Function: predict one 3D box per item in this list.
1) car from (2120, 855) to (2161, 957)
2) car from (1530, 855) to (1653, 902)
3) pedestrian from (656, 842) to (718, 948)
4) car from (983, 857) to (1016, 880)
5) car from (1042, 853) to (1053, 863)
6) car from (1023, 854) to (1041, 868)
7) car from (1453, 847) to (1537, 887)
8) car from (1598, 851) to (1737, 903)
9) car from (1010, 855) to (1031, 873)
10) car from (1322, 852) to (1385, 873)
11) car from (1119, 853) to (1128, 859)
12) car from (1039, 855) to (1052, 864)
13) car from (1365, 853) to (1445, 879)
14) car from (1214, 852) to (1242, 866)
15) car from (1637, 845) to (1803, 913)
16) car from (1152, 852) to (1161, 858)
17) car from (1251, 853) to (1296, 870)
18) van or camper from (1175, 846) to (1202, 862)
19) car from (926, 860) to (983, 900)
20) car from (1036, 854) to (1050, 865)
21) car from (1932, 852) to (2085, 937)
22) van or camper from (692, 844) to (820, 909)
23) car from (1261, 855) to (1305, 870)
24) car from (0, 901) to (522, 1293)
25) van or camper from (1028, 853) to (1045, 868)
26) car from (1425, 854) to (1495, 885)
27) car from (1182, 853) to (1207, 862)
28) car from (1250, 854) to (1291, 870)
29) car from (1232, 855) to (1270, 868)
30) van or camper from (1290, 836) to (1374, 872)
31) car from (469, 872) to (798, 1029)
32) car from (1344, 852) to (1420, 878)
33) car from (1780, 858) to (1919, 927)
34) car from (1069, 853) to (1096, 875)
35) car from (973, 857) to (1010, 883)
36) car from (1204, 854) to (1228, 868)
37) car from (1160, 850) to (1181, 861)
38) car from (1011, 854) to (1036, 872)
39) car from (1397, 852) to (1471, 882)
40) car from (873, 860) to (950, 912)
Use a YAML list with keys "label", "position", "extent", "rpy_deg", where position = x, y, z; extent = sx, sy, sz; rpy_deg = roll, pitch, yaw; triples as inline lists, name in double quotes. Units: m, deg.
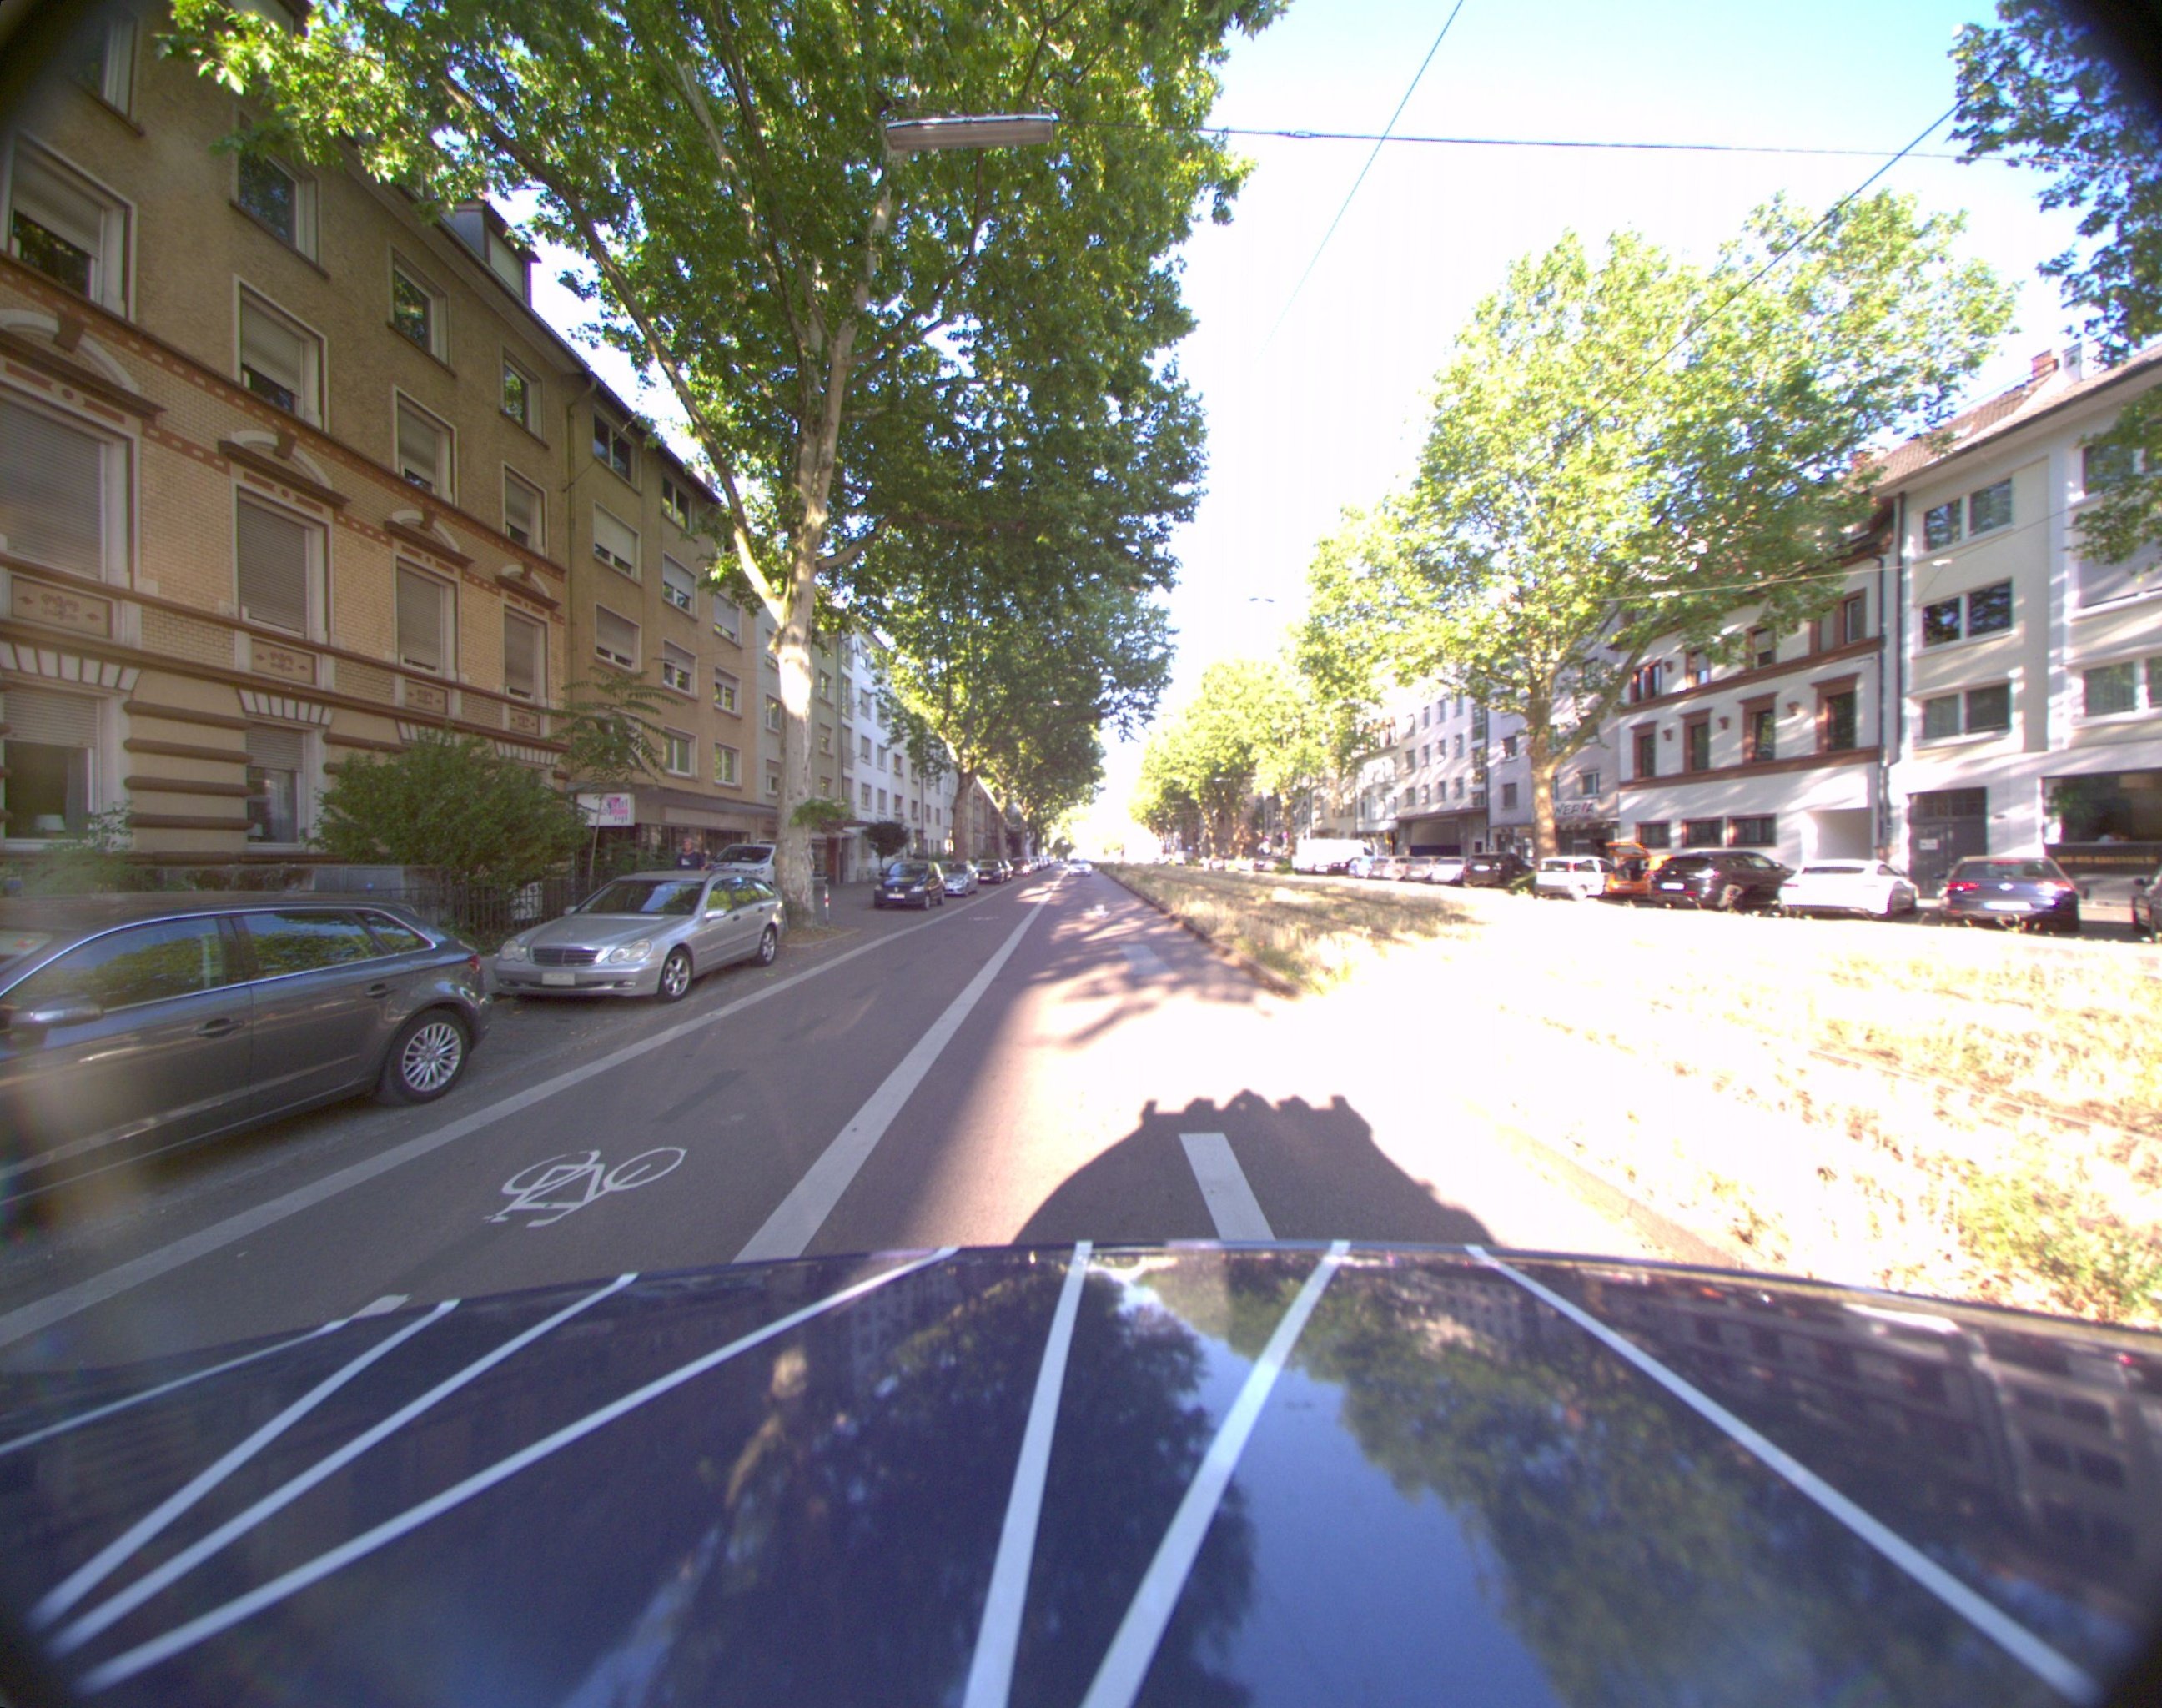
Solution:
- label: "car"
  position: [19.058, 0.809, 12.681]
  extent: [4.007, 1.433, 1.717]
  rpy_deg: [-3, 1, -41]
- label: "car"
  position: [18.040, 0.807, 26.810]
  extent: [4.369, 1.440, 1.655]
  rpy_deg: [-2, 1, -26]
- label: "pedestrian"
  position: [-7.694, 0.765, 14.871]
  extent: [0.684, 2.002, 1.011]
  rpy_deg: [-1, 1, -3]
- label: "car"
  position: [-5.402, 0.930, 50.560]
  extent: [1.713, 1.407, 4.363]
  rpy_deg: [2, 0, 0]
- label: "car"
  position: [-5.599, 0.680, 127.084]
  extent: [1.791, 1.585, 4.013]
  rpy_deg: [1, 0, -2]
- label: "car"
  position: [-5.547, 0.796, 86.399]
  extent: [1.702, 1.517, 4.194]
  rpy_deg: [0, 0, 0]
- label: "car"
  position: [18.685, 0.578, 34.229]
  extent: [4.008, 1.651, 1.995]
  rpy_deg: [-1, 0, -41]
- label: "car"
  position: [19.500, 0.728, 25.259]
  extent: [4.003, 1.471, 1.774]
  rpy_deg: [-3, 1, -20]
- label: "car"
  position: [-5.282, 0.862, 66.481]
  extent: [1.748, 1.455, 4.024]
  rpy_deg: [-1, 0, -5]
- label: "car"
  position: [19.706, 0.600, 54.940]
  extent: [4.004, 1.482, 1.996]
  rpy_deg: [0, 0, -22]
- label: "car"
  position: [11.432, 0.659, 205.414]
  extent: [1.997, 1.477, 4.002]
  rpy_deg: [-2, 1, 8]
- label: "car"
  position: [-5.613, 0.837, 119.794]
  extent: [1.790, 1.458, 3.569]
  rpy_deg: [1, 0, 0]
- label: "car"
  position: [19.173, 0.711, 45.078]
  extent: [4.002, 1.483, 1.948]
  rpy_deg: [0, 0, -13]
- label: "car"
  position: [18.830, 0.631, 97.403]
  extent: [1.726, 1.643, 4.009]
  rpy_deg: [-1, -1, 40]
- label: "car"
  position: [18.299, 0.681, 21.748]
  extent: [4.370, 1.776, 1.989]
  rpy_deg: [1, 1, -26]
- label: "car"
  position: [20.184, 0.327, 202.873]
  extent: [1.998, 1.412, 4.000]
  rpy_deg: [-2, 1, 2]
- label: "car"
  position: [18.644, 0.715, 73.544]
  extent: [4.169, 1.583, 1.932]
  rpy_deg: [2, -1, -36]
- label: "van or camper"
  position: [18.359, 0.023, 129.716]
  extent: [4.371, 2.386, 2.196]
  rpy_deg: [-4, 2, -40]
- label: "car"
  position: [-5.309, 1.056, 32.471]
  extent: [1.699, 1.533, 4.776]
  rpy_deg: [0, 0, -1]
- label: "car"
  position: [-5.487, 0.790, 109.721]
  extent: [1.790, 1.609, 3.829]
  rpy_deg: [1, 0, 0]
- label: "car"
  position: [19.363, 0.767, 16.022]
  extent: [4.007, 1.433, 1.797]
  rpy_deg: [-3, 1, -43]
- label: "van or camper"
  position: [-10.435, 0.645, 24.949]
  extent: [1.947, 1.911, 5.390]
  rpy_deg: [0, 0, -1]
- label: "car"
  position: [18.698, 0.811, 70.257]
  extent: [4.014, 1.349, 1.797]
  rpy_deg: [1, 0, -37]
- label: "car"
  position: [-5.179, 1.066, 3.655]
  extent: [1.714, 1.388, 4.321]
  rpy_deg: [0, 0, 1]
- label: "van or camper"
  position: [-5.413, 0.768, 92.698]
  extent: [1.790, 1.710, 4.379]
  rpy_deg: [1, 0, 1]
- label: "car"
  position: [18.936, 0.739, 37.890]
  extent: [4.008, 1.377, 1.907]
  rpy_deg: [-2, 0, -45]
- label: "car"
  position: [18.973, 0.586, 127.193]
  extent: [4.006, 1.240, 1.726]
  rpy_deg: [-4, 1, -34]
- label: "car"
  position: [19.219, 0.801, 76.924]
  extent: [4.008, 1.524, 1.821]
  rpy_deg: [1, -1, -36]
- label: "car"
  position: [18.209, 0.780, 81.428]
  extent: [3.687, 1.382, 1.822]
  rpy_deg: [-1, 0, -31]
- label: "van or camper"
  position: [18.981, 0.005, 57.449]
  extent: [5.974, 2.631, 2.175]
  rpy_deg: [-1, 0, -20]
- label: "car"
  position: [-5.340, 1.023, 9.921]
  extent: [1.678, 1.443, 4.570]
  rpy_deg: [0, 0, -2]
- label: "car"
  position: [18.965, 0.657, 47.993]
  extent: [3.998, 1.412, 1.857]
  rpy_deg: [-3, 1, -4]
- label: "car"
  position: [18.653, 0.851, 18.399]
  extent: [4.212, 1.325, 1.718]
  rpy_deg: [-3, 1, -36]
- label: "car"
  position: [0.142, 0.756, 58.795]
  extent: [1.893, 1.501, 4.000]
  rpy_deg: [-3, 1, 1]
- label: "car"
  position: [-5.316, 0.921, 45.670]
  extent: [1.713, 1.407, 4.363]
  rpy_deg: [2, 0, 0]
- label: "car"
  position: [15.040, 0.767, 85.074]
  extent: [1.825, 1.382, 4.483]
  rpy_deg: [2, 0, -1]
- label: "car"
  position: [18.312, 0.379, 154.804]
  extent: [4.007, 2.002, 1.995]
  rpy_deg: [-3, 1, -42]
- label: "car"
  position: [-5.484, 0.813, 73.257]
  extent: [1.999, 1.557, 4.663]
  rpy_deg: [2, 1, 0]
- label: "car"
  position: [19.063, 0.669, 40.947]
  extent: [4.006, 1.414, 1.752]
  rpy_deg: [-3, 1, -34]
- label: "car"
  position: [-5.425, 0.970, 24.715]
  extent: [1.658, 1.536, 3.999]
  rpy_deg: [0, 0, -1]
